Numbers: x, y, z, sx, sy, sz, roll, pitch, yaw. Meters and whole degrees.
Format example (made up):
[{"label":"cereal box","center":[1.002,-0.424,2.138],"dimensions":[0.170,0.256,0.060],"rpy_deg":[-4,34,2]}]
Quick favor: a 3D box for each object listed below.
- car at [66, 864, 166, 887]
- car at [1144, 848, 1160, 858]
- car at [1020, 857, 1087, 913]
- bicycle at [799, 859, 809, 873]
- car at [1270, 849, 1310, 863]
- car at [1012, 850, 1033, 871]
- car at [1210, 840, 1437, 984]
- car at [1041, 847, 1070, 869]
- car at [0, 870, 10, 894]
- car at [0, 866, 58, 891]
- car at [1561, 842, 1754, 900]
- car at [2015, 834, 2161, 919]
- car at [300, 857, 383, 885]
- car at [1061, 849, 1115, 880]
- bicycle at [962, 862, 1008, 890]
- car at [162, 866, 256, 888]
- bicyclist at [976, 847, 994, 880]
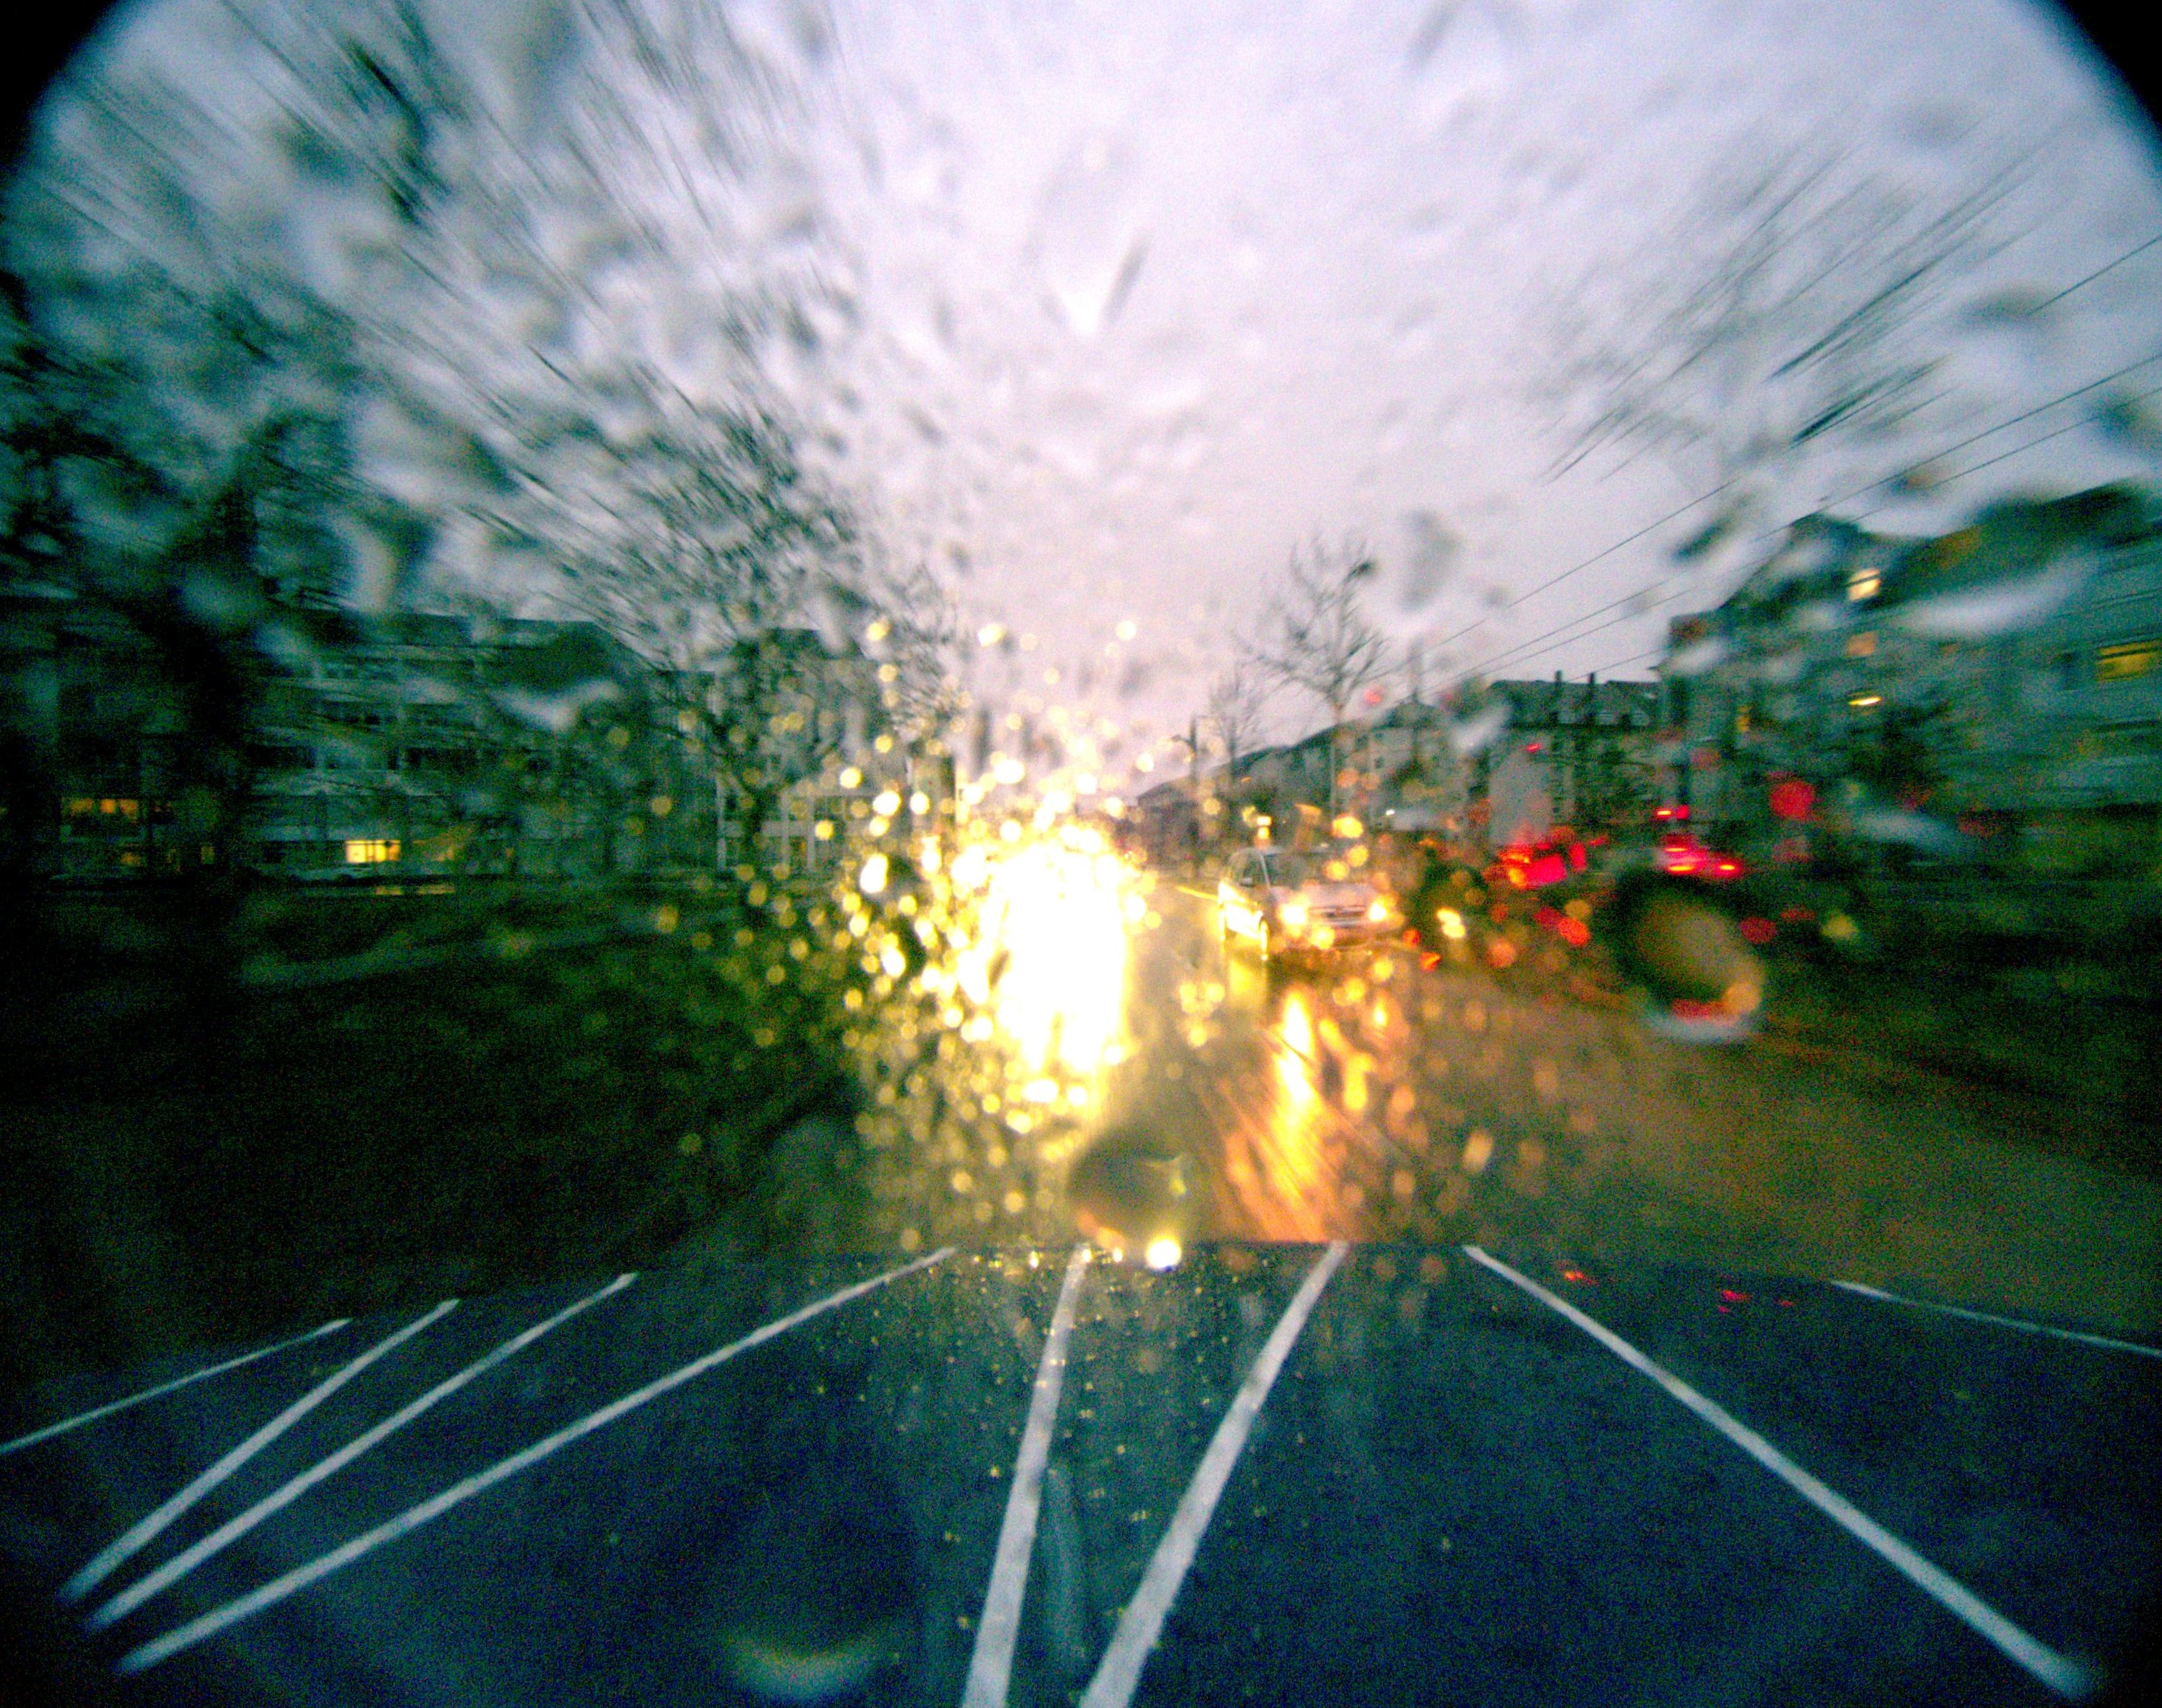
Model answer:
[{"label":"car","center":[-61.458,1.341,48.464],"dimensions":[3.799,1.219,1.374],"rpy_deg":[-3,2,-16]},{"label":"car","center":[12.578,-0.254,134.509],"dimensions":[1.730,1.636,4.146],"rpy_deg":[-2,2,-9]},{"label":"car","center":[-0.977,0.927,24.719],"dimensions":[1.758,1.419,3.799],"rpy_deg":[-2,3,-8]},{"label":"bicycle","center":[-22.930,0.998,62.888],"dimensions":[0.472,1.098,1.873],"rpy_deg":[0,1,-12]},{"label":"car","center":[22.918,0.167,83.352],"dimensions":[3.812,1.359,1.696],"rpy_deg":[-3,2,-16]},{"label":"car","center":[-5.560,0.574,72.310],"dimensions":[1.892,1.801,3.808],"rpy_deg":[-2,1,-4]},{"label":"car","center":[3.365,0.691,11.444],"dimensions":[2.021,1.668,3.998],"rpy_deg":[-2,2,-1]},{"label":"car","center":[-2.495,0.352,71.797],"dimensions":[1.959,2.022,4.877],"rpy_deg":[-2,1,-11]},{"label":"car","center":[-70.765,1.917,47.268],"dimensions":[1.772,1.547,4.808],"rpy_deg":[-2,2,-9]},{"label":"car","center":[-67.688,1.586,47.650],"dimensions":[1.773,1.413,4.129],"rpy_deg":[-2,2,-11]},{"label":"car","center":[17.636,0.421,23.611],"dimensions":[1.593,1.520,4.928],"rpy_deg":[-3,2,-12]},{"label":"car","center":[22.632,0.450,15.636],"dimensions":[1.812,1.718,3.999],"rpy_deg":[-1,0,-3]},{"label":"car","center":[-48.716,1.101,50.112],"dimensions":[3.279,1.627,1.998],"rpy_deg":[-2,2,-10]},{"label":"car","center":[0.300,0.525,41.033],"dimensions":[1.977,1.493,4.086],"rpy_deg":[-3,1,-13]},{"label":"bicycle","center":[-4.369,0.983,34.519],"dimensions":[1.970,1.208,1.039],"rpy_deg":[0,-1,-15]},{"label":"car","center":[-56.616,1.461,49.414],"dimensions":[3.724,1.178,1.538],"rpy_deg":[-3,2,-16]},{"label":"bicyclist","center":[-4.375,0.425,34.512],"dimensions":[0.753,1.422,0.926],"rpy_deg":[-2,2,-9]}]
